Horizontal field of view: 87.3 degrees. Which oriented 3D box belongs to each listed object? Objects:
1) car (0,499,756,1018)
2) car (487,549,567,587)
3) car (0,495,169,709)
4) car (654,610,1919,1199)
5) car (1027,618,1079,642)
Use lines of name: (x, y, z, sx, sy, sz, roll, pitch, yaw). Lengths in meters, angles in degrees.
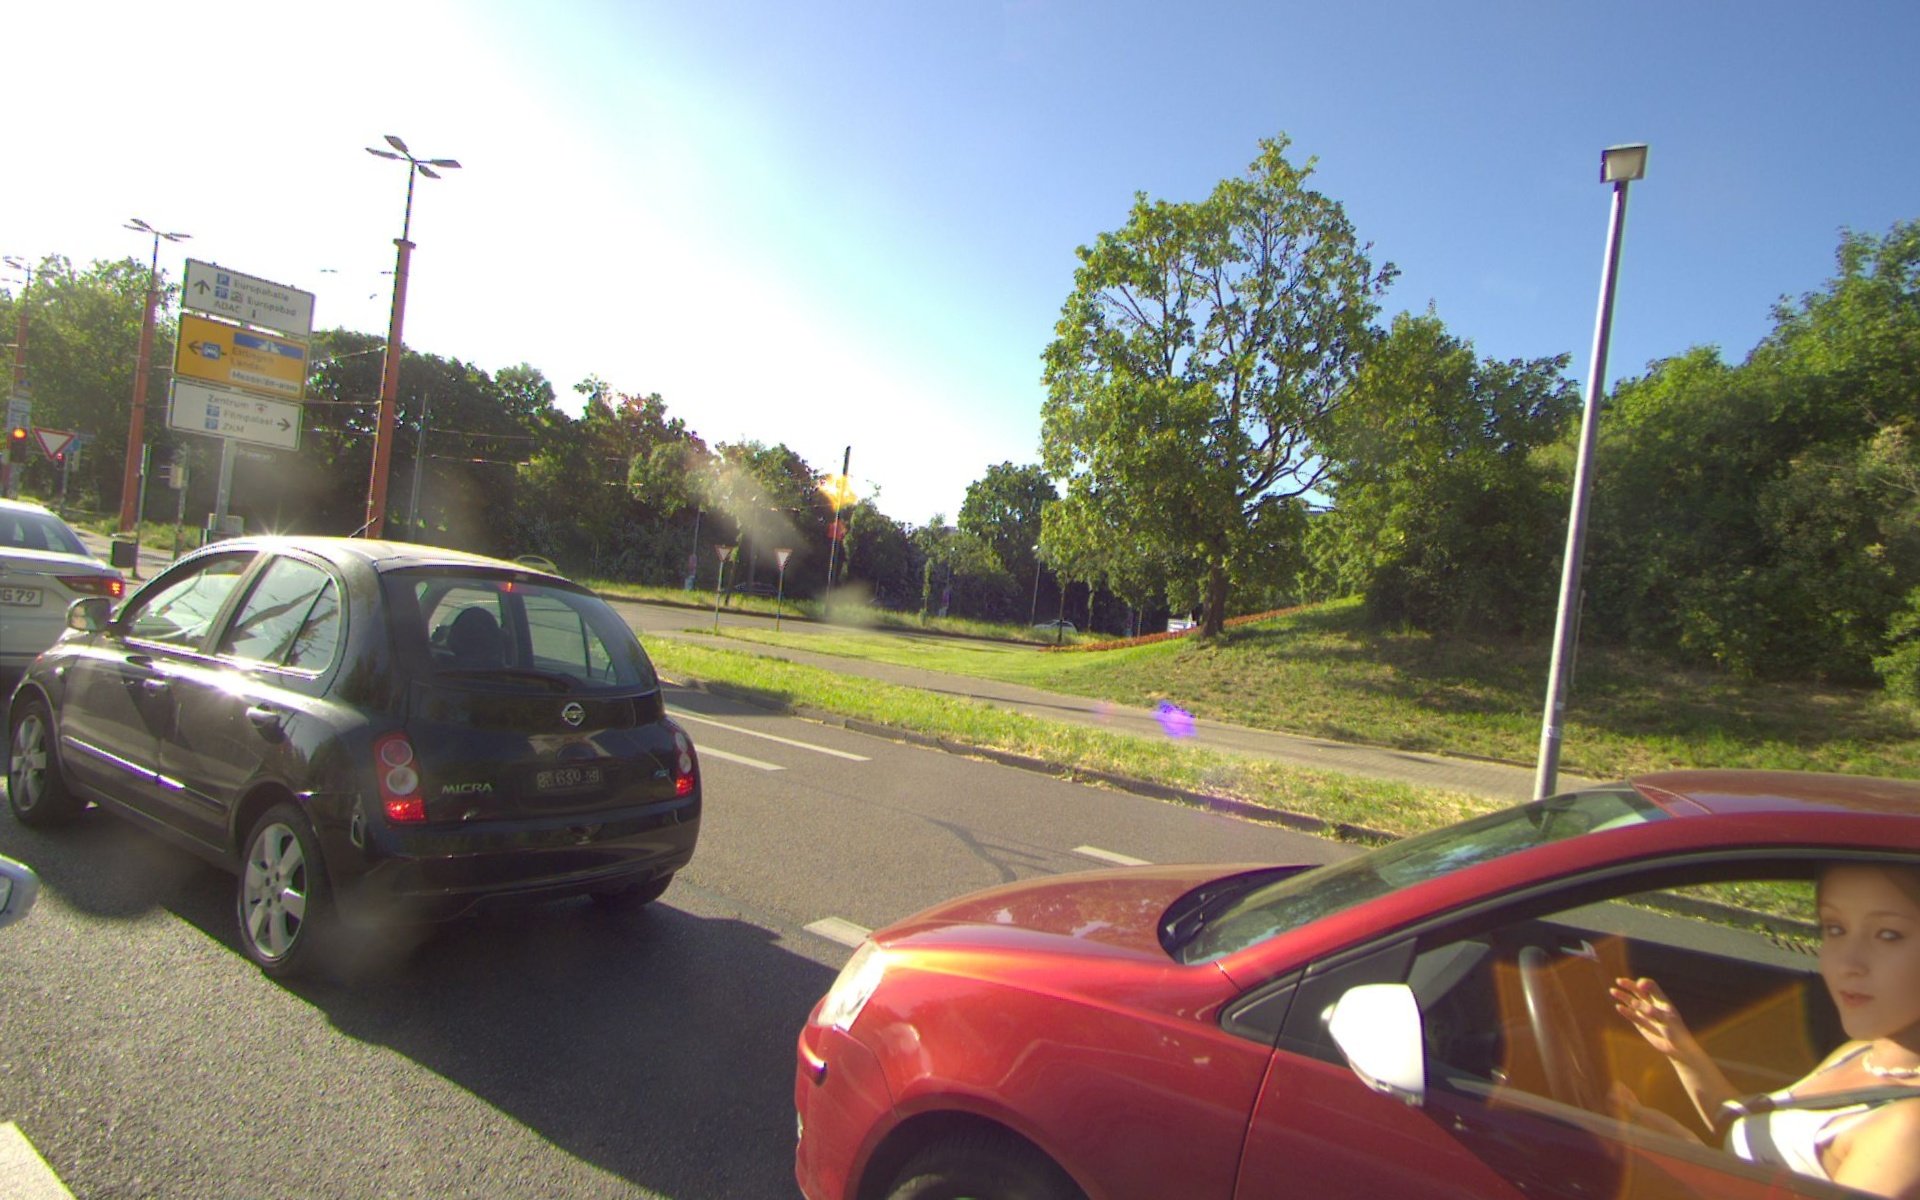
car: (-2.807, 0.465, 4.623, 3.385, 1.457, 1.579, 6, -2, 32)
car: (-26.508, -1.942, 61.652, 4.176, 1.701, 1.643, 8, -1, -32)
car: (-8.380, -0.177, 8.078, 4.256, 1.457, 1.802, 6, -2, 33)
car: (1.336, 1.000, 1.867, 3.629, 1.477, 1.579, 6, -2, 32)
car: (7.605, 2.444, 81.951, 3.888, 1.474, 1.643, 8, -1, -32)
